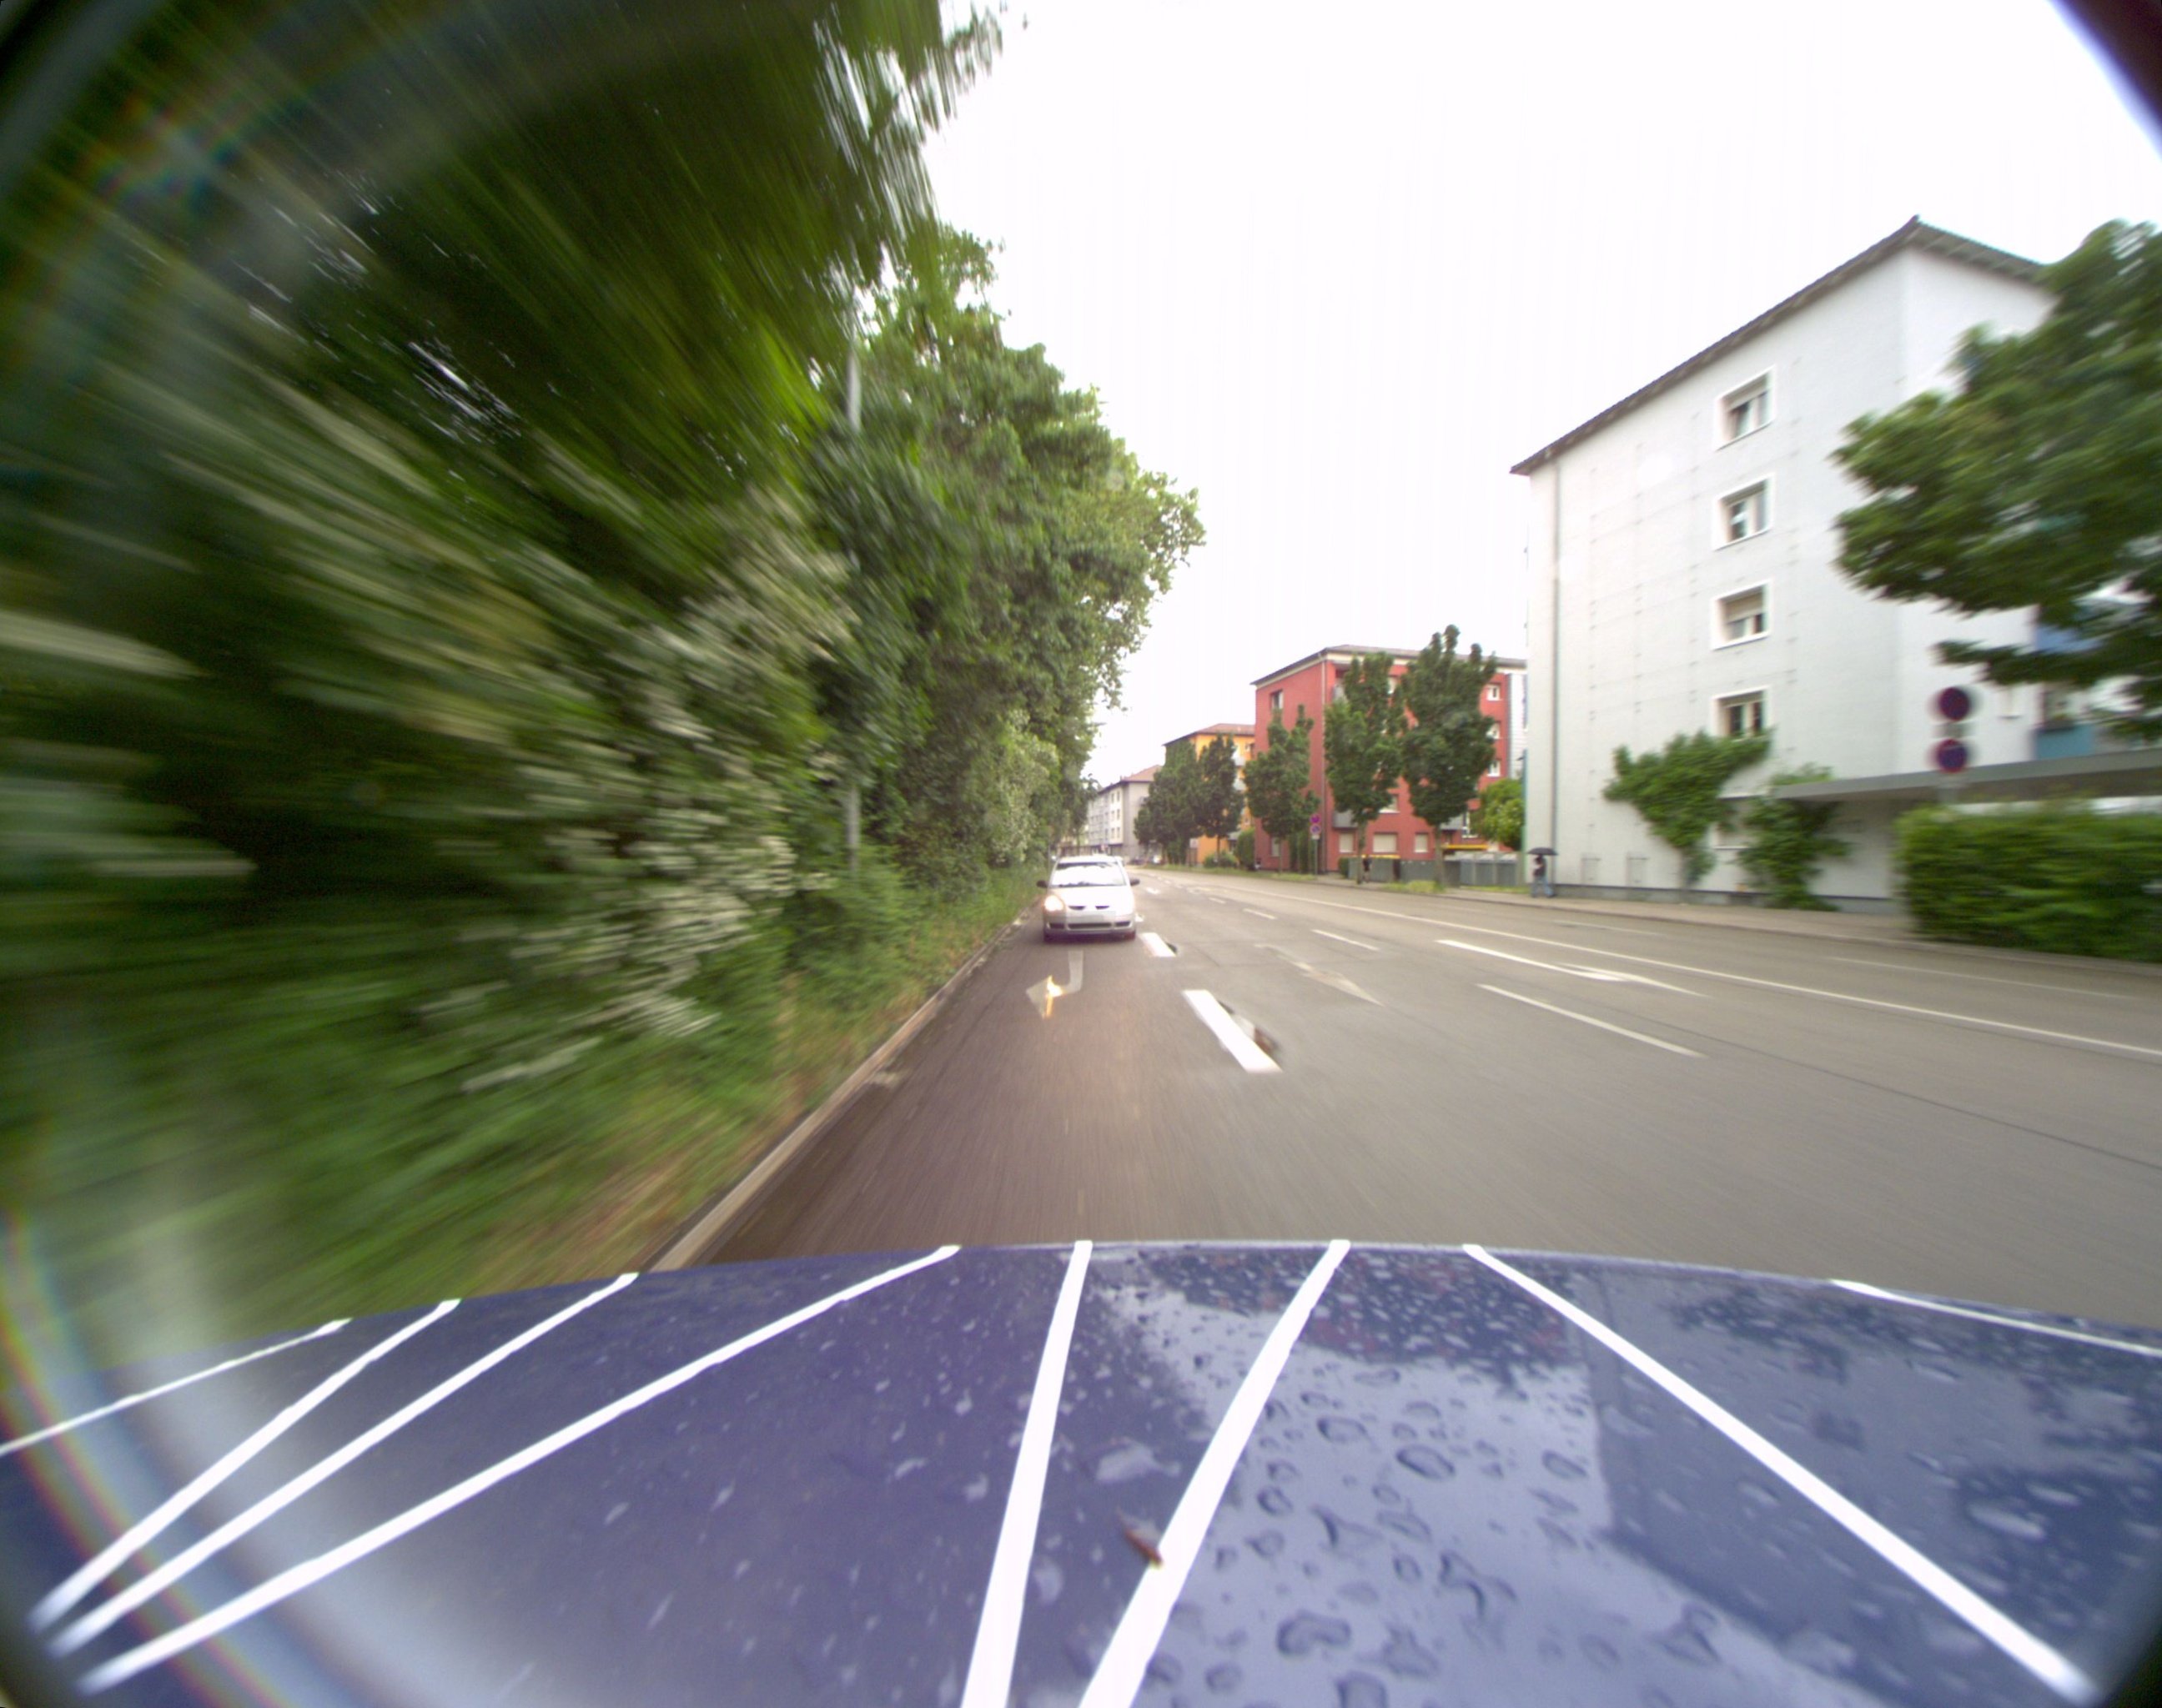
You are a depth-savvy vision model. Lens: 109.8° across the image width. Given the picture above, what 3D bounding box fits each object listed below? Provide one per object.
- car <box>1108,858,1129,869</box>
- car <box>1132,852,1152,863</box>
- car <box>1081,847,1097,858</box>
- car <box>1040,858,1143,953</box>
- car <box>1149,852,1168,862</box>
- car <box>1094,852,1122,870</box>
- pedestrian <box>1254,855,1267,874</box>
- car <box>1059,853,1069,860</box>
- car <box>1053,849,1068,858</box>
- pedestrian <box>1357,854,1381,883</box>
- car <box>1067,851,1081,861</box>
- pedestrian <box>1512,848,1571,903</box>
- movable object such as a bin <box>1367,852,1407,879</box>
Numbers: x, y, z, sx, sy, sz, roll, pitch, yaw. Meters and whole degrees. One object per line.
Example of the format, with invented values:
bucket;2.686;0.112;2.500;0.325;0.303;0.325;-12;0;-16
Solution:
car;4.764;1.218;97.183;1.880;1.382;4.623;1;0;-8
car;9.197;0.506;115.582;1.857;1.477;4.630;-2;1;-10
car;1.275;-0.229;120.055;1.880;1.593;4.460;1;0;-8
car;0.206;0.882;15.000;1.755;1.586;4.169;0;0;1
car;11.784;0.488;116.168;1.736;1.516;4.224;1;0;-10
car;2.493;0.670;71.403;1.737;1.590;3.995;-1;1;-11
pedestrian;13.688;0.826;57.945;0.673;1.441;0.835;0;0;-8
car;-3.435;0.538;155.029;1.549;1.369;3.445;1;-1;-11
car;-3.580;-0.066;129.434;1.848;1.377;4.355;1;0;-11
pedestrian;14.844;0.738;39.161;0.694;1.508;1.069;0;0;-8
car;-1.392;0.424;149.874;1.906;1.859;4.311;-1;1;-11
pedestrian;15.214;0.691;25.147;1.137;1.793;1.262;0;0;-3
movable object such as a bin;16.922;0.622;42.077;1.219;1.476;2.086;0;0;-5
